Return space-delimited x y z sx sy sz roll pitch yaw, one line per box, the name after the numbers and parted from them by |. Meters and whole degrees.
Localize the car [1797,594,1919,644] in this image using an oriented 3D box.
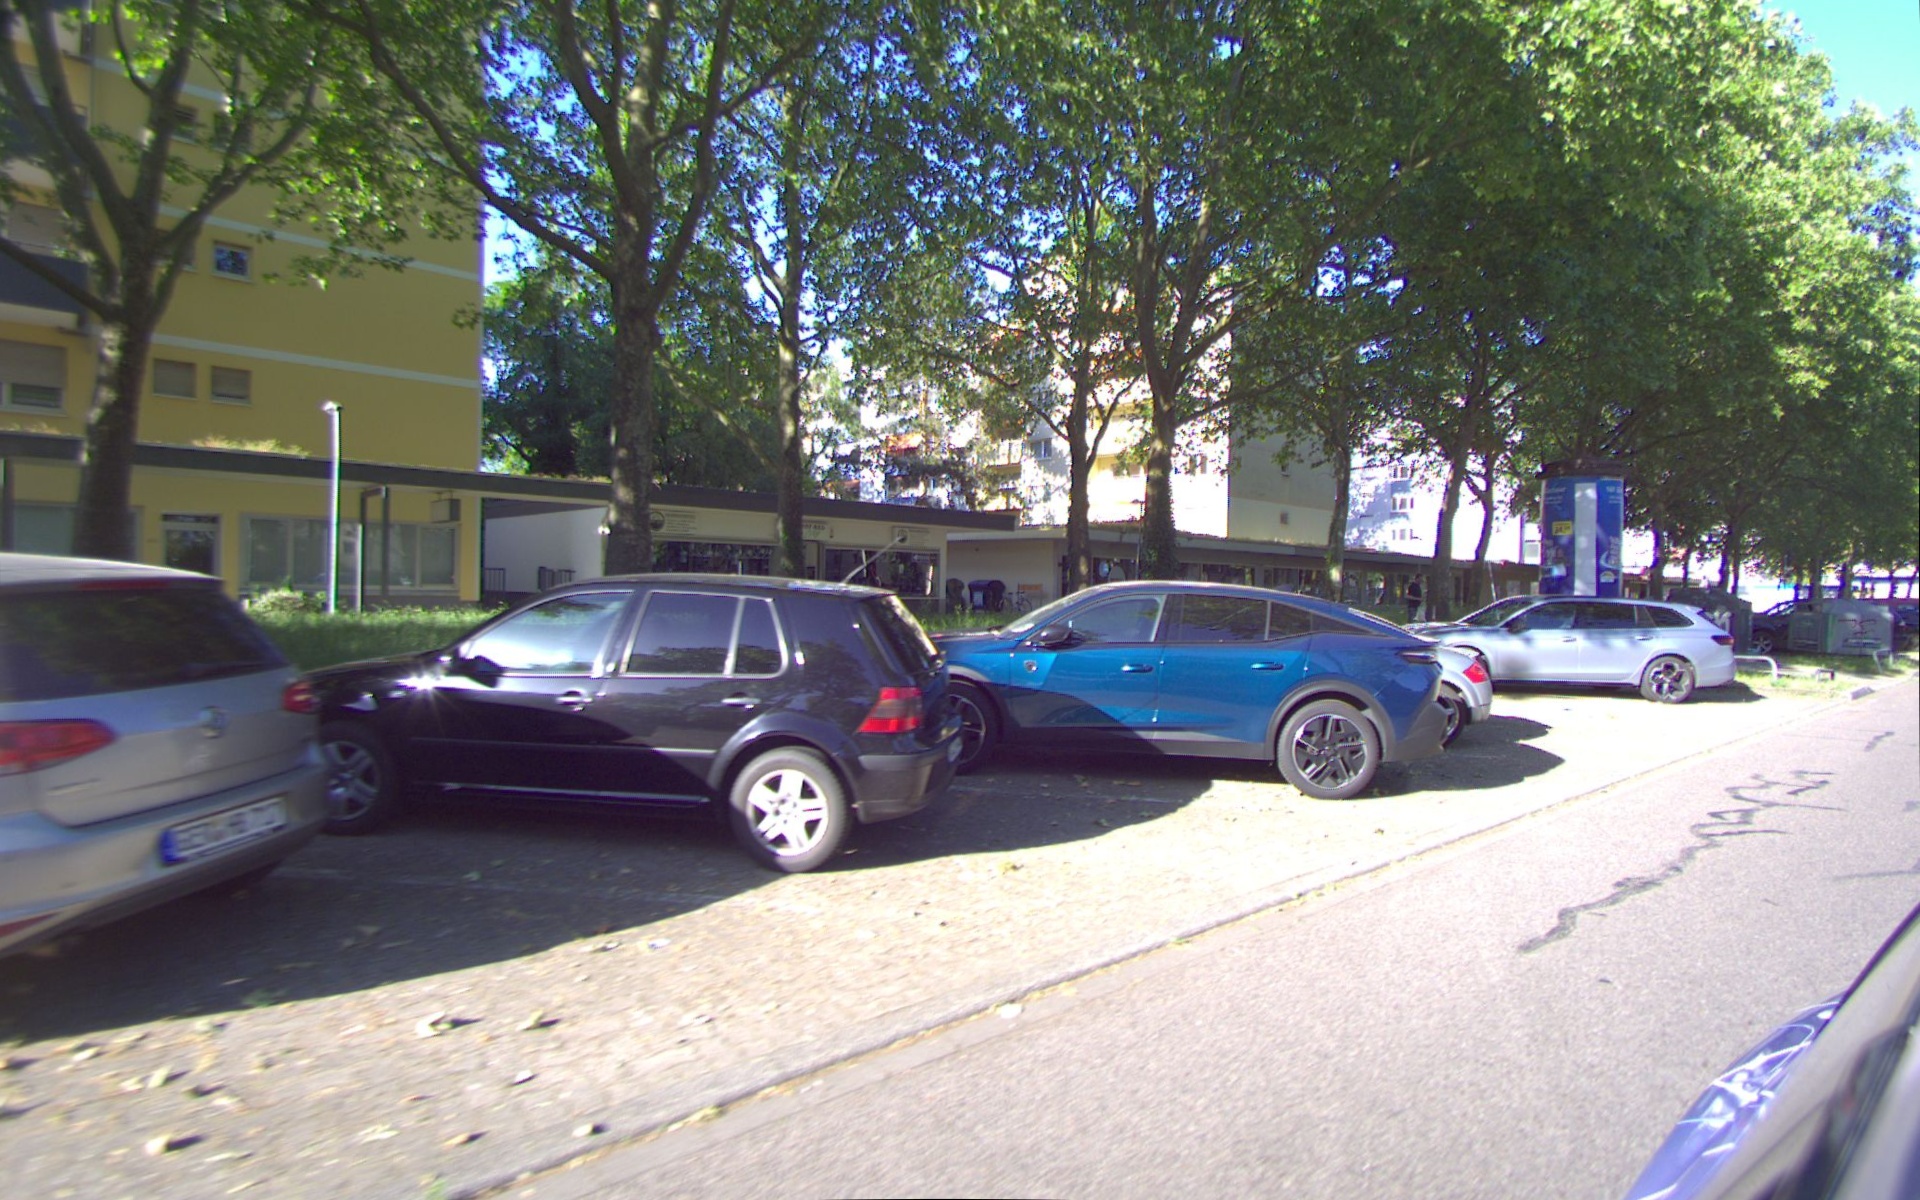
31.378 0.649 34.465 4.025 1.499 1.644 2 2 14 | car

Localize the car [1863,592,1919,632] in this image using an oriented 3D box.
44.696 0.604 46.790 3.962 1.726 1.757 2 2 9 | car

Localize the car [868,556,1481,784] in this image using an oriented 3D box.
1.547 0.448 8.160 4.255 1.442 1.854 2 2 7 | car

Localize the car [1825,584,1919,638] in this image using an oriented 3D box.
34.741 0.415 37.255 4.020 1.833 1.647 2 2 10 | car

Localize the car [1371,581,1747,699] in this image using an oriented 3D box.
8.795 0.533 15.227 4.416 1.461 1.854 2 2 7 | car

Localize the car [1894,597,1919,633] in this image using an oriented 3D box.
42.162 0.690 42.692 3.722 1.488 1.649 2 2 7 | car

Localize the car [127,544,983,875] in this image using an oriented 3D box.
-2.155 0.458 6.051 4.386 1.468 1.917 2 3 8 | car

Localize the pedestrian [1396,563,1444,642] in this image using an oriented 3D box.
11.641 0.053 25.594 0.872 1.938 0.858 2 1 41 | pedestrian

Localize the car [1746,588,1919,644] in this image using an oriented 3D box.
28.271 0.487 32.767 4.016 1.601 1.778 2 2 8 | car

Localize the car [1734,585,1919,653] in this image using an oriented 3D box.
24.496 0.505 28.243 4.252 1.738 1.631 1 1 11 | car

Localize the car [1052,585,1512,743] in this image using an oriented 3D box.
3.124 0.588 10.590 4.255 1.313 1.689 2 2 7 | car

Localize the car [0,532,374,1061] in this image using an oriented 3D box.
-4.807 0.462 3.661 4.383 1.468 1.918 2 3 5 | car
